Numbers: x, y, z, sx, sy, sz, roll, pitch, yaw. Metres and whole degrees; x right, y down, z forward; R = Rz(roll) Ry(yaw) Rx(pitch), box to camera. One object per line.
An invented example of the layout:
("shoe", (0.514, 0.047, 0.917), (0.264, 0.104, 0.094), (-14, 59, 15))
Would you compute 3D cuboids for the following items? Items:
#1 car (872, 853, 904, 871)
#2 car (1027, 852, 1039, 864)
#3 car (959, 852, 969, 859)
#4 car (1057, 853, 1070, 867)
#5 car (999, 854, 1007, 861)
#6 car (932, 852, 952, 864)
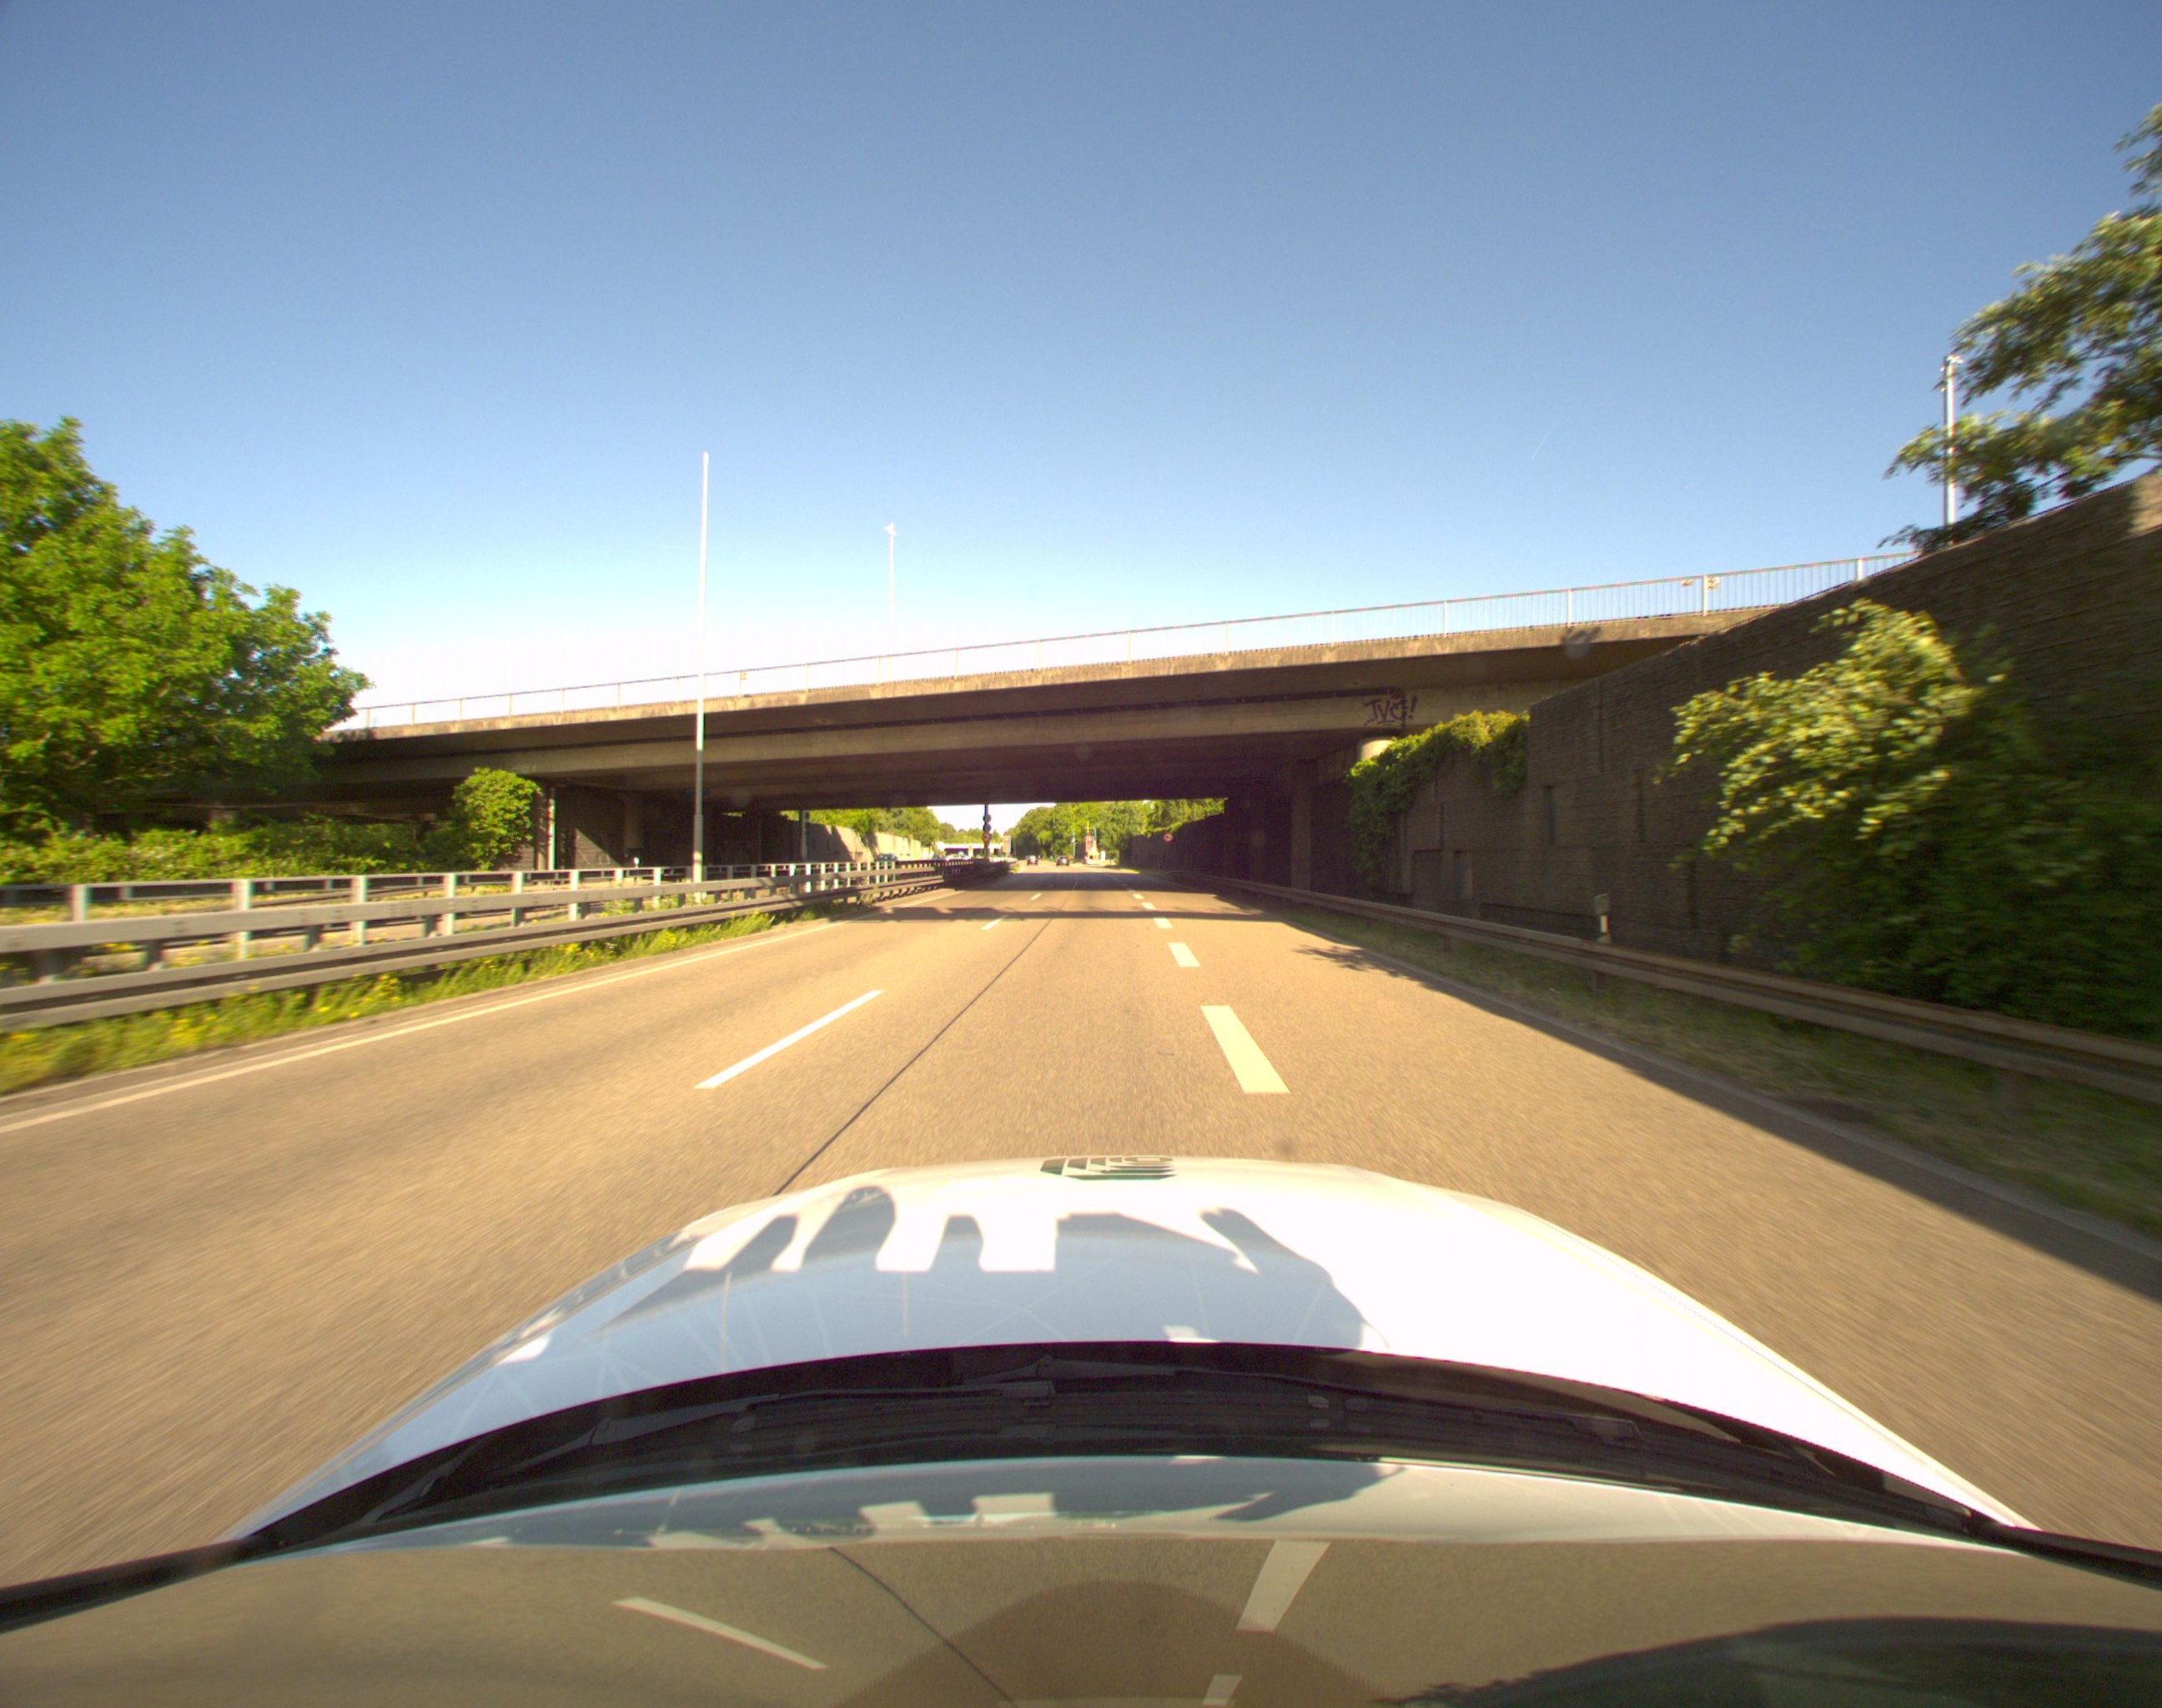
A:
("car", (-18.750, 0.773, 79.269), (1.987, 1.706, 4.560), (-1, 0, 0))
("car", (-7.846, 0.632, 133.294), (1.988, 1.925, 3.997), (1, 0, -2))
("car", (-27.190, 0.403, 189.802), (1.894, 1.574, 4.801), (2, 0, -4))
("car", (-2.610, 0.852, 120.762), (1.988, 1.925, 3.997), (1, 0, -2))
("car", (-24.730, 1.108, 258.658), (1.995, 1.925, 3.984), (1, 0, -12))
("car", (-19.184, 0.497, 112.193), (1.987, 1.596, 4.426), (0, 0, 0))
